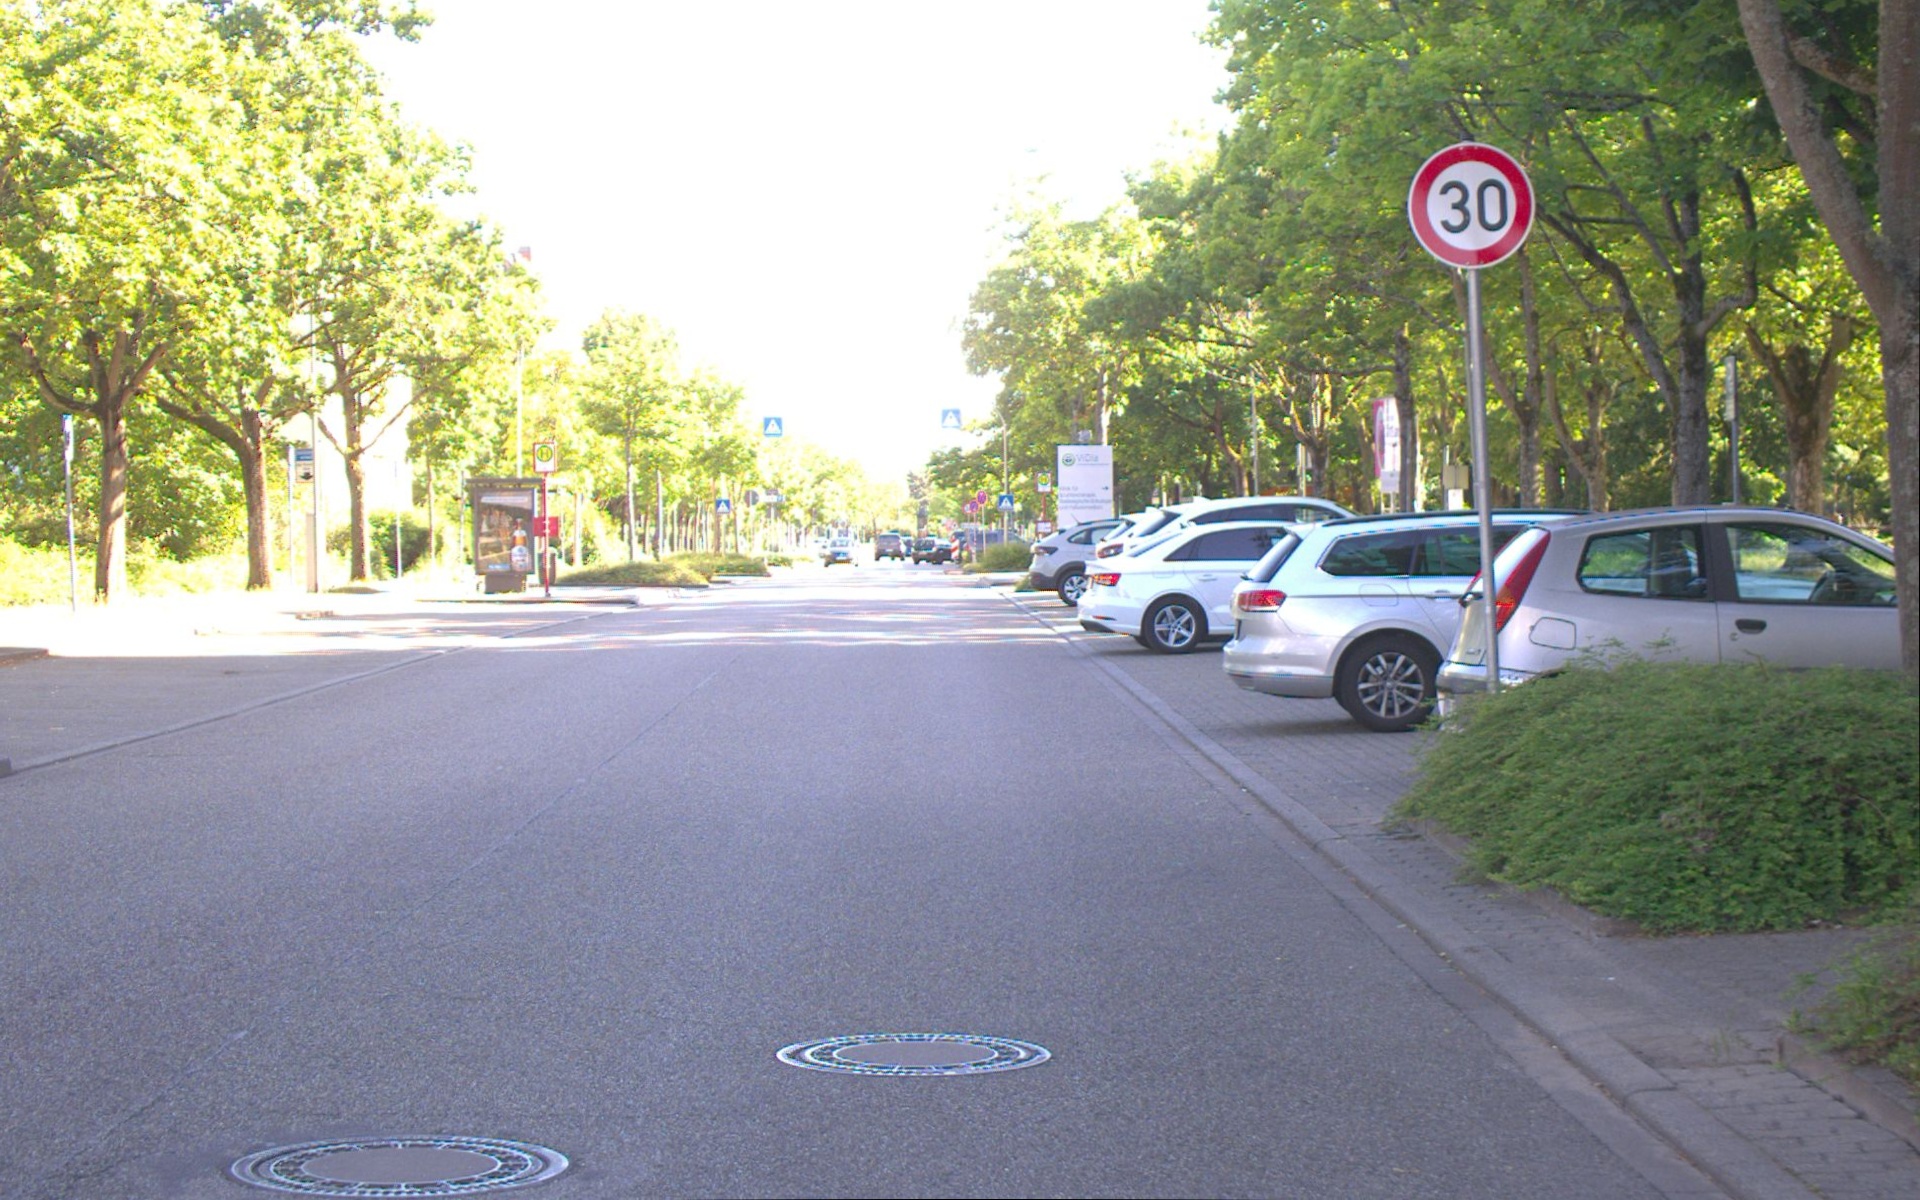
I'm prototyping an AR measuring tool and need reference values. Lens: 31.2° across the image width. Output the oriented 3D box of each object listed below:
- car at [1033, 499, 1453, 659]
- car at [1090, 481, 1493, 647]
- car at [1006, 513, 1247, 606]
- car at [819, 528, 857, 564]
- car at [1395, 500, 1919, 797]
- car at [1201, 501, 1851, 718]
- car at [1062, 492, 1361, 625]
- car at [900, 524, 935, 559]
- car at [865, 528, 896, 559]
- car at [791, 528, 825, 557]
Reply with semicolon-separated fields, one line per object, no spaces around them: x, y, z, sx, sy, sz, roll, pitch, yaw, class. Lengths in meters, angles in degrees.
3.057;-0.245;37.713;4.342;1.484;1.738;-3;1;-2;car
3.850;-0.441;40.415;4.435;1.642;1.816;-3;2;-2;car
2.971;-0.741;62.077;4.164;1.423;2.000;-3;1;-1;car
-6.162;-2.748;173.976;1.828;1.769;3.740;0;1;0;car
4.533;0.210;18.963;3.987;1.446;1.717;-2;2;0;car
3.815;0.048;23.773;4.275;1.423;1.827;0;1;4;car
3.277;-0.554;45.188;3.688;1.517;1.651;-3;2;-2;car
-2.467;-3.429;200.020;1.993;2.007;4.000;0;1;0;car
-5.306;-3.784;229.676;1.993;2.007;4.000;0;1;0;car
-9.591;-3.662;217.357;1.993;1.795;4.000;0;1;0;car
